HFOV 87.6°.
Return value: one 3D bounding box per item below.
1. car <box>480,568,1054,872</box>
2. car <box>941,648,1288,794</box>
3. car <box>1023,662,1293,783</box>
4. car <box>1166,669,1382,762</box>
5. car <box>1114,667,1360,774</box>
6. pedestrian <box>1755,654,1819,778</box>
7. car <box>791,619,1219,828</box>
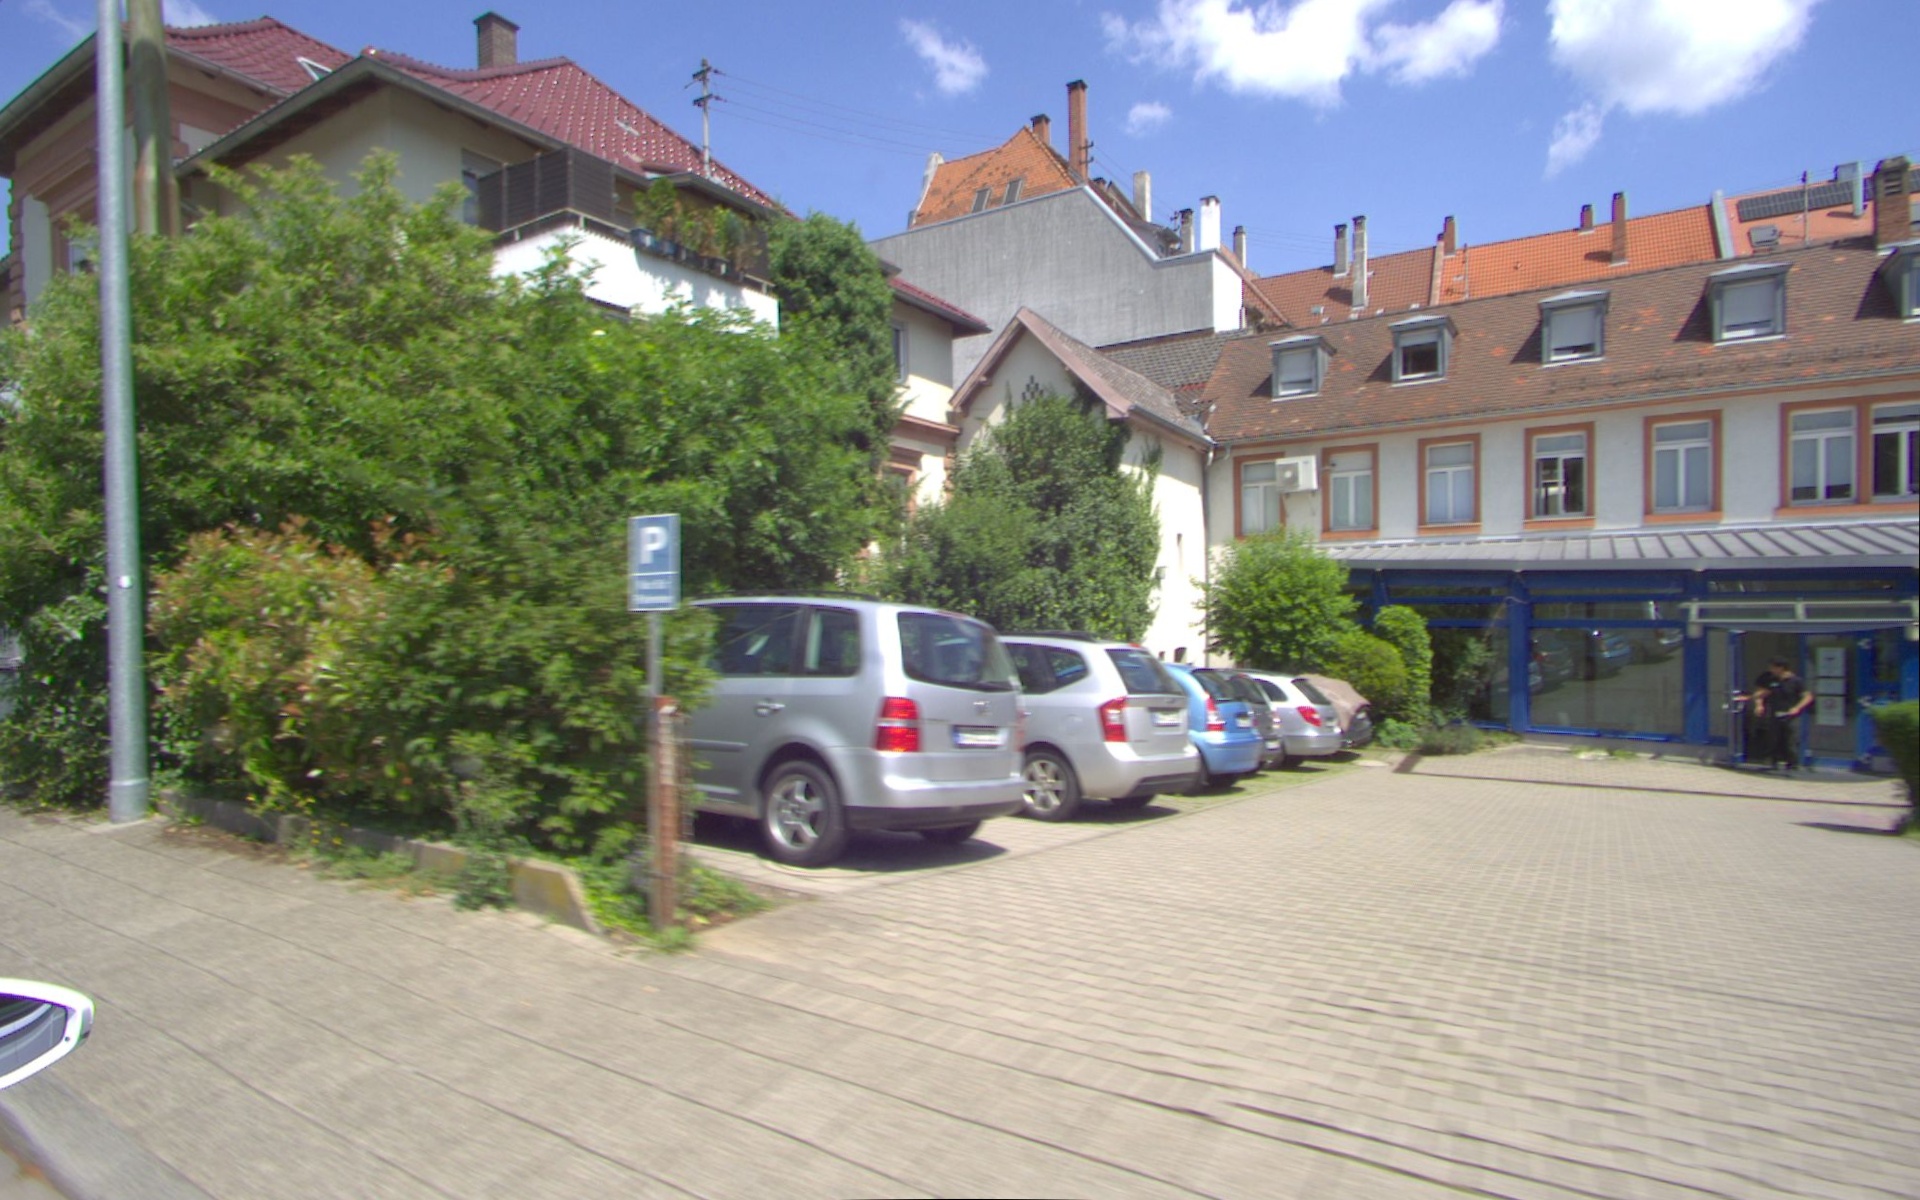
[{"bbox_3d":[-1.472,0.815,7.268,3.944,1.646,1.760,-3,-6,32],"label":"car"},{"bbox_3d":[1.864,1.470,12.579,3.948,1.555,1.758,-3,-7,35],"label":"car"},{"bbox_3d":[2.834,1.738,14.589,3.535,1.555,1.581,-3,-7,35],"label":"car"},{"bbox_3d":[5.751,2.093,18.507,3.535,1.556,1.520,-3,-7,35],"label":"car"},{"bbox_3d":[4.457,1.915,16.296,3.535,1.555,1.581,-3,-7,35],"label":"car"},{"bbox_3d":[12.604,1.744,15.279,0.680,1.813,0.590,-3,-2,39],"label":"pedestrian"},{"bbox_3d":[0.371,1.171,9.998,3.948,1.687,1.758,-3,-7,35],"label":"car"}]
